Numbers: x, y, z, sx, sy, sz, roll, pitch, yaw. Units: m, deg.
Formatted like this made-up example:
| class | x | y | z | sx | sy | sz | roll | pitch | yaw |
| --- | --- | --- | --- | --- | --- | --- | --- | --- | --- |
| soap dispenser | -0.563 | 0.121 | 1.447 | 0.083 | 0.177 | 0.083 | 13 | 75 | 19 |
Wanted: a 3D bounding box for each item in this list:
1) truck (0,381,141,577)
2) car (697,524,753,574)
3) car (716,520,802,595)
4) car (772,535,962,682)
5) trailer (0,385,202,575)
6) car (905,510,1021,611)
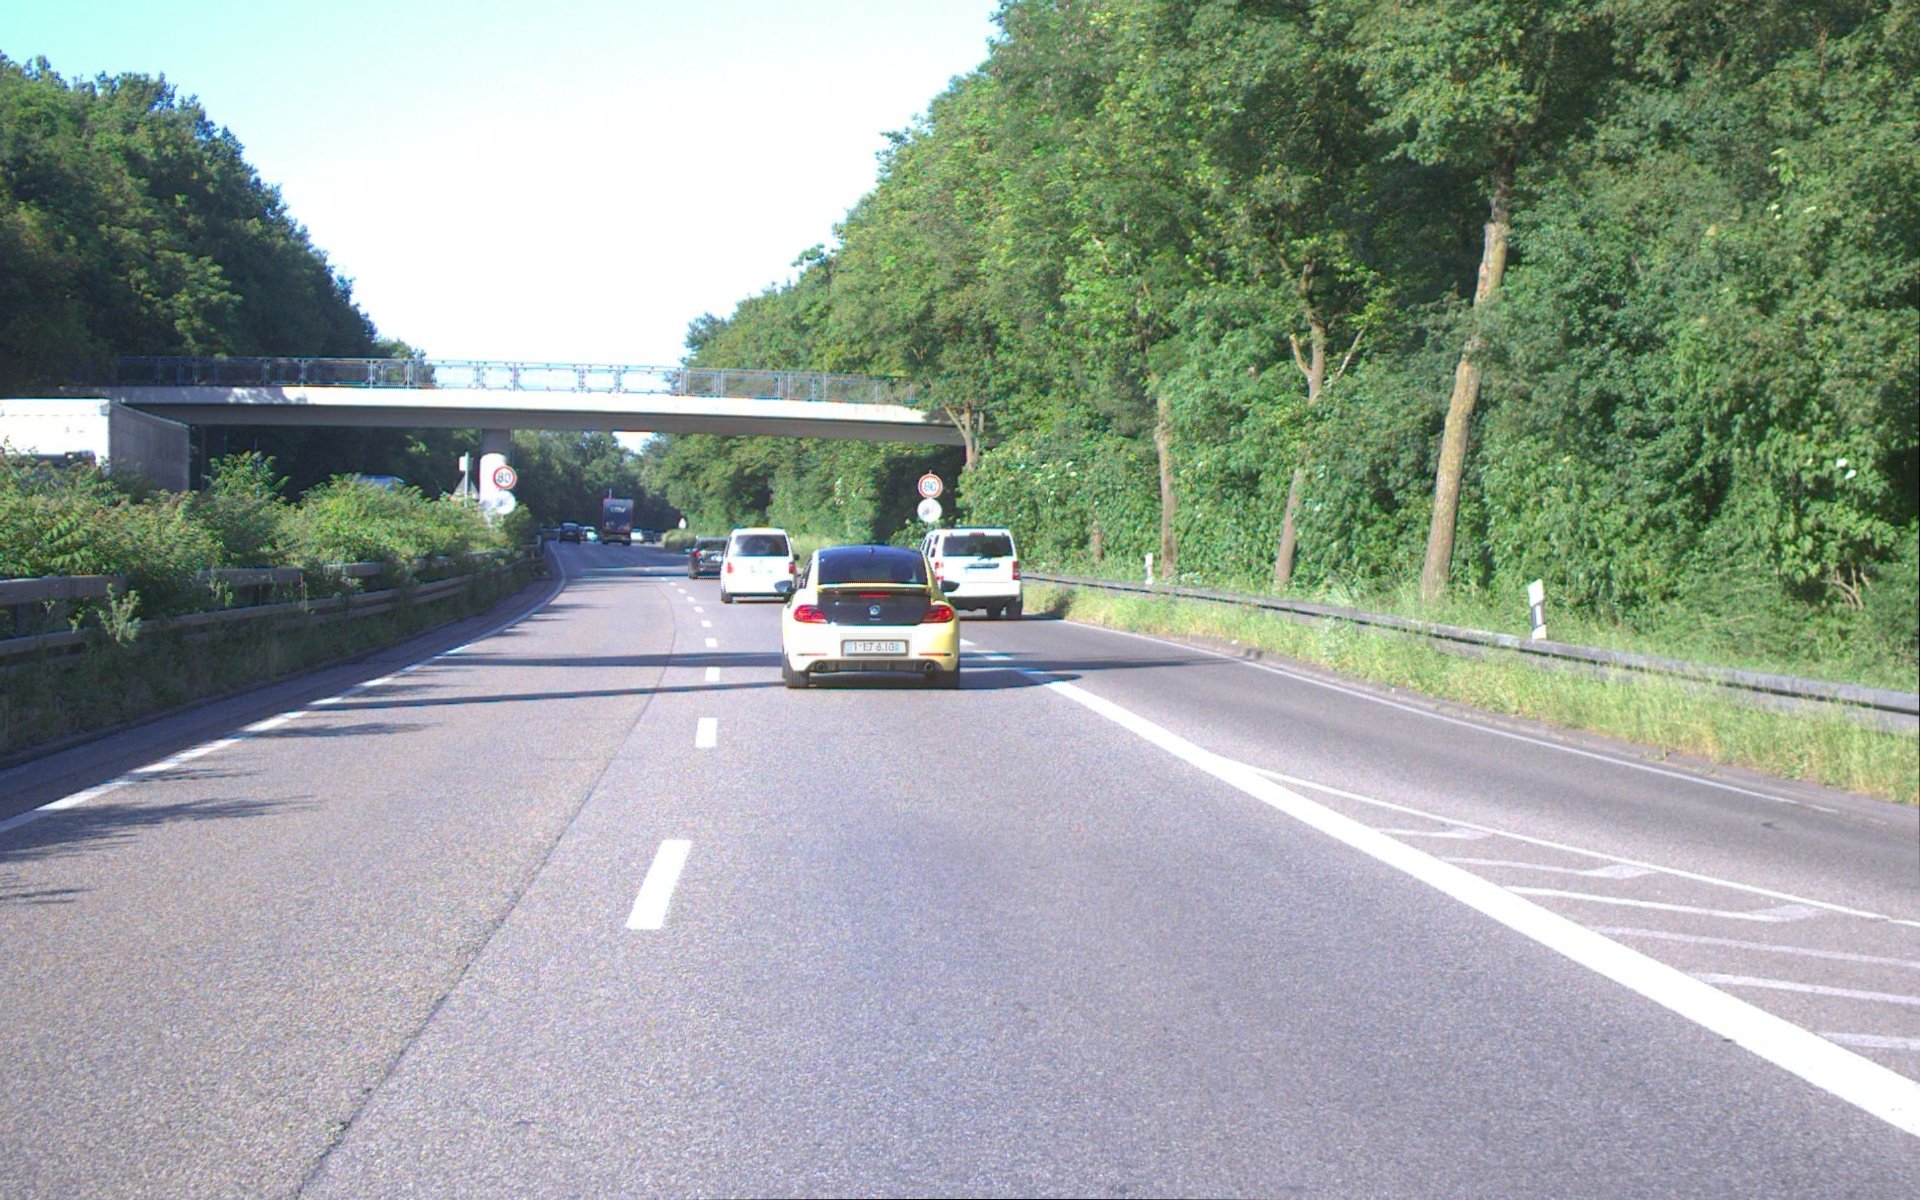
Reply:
| class | x | y | z | sx | sy | sz | roll | pitch | yaw |
| --- | --- | --- | --- | --- | --- | --- | --- | --- | --- |
| truck | -19.652 | -2.587 | 74.505 | 2.738 | 4.013 | 6.181 | 2 | 1 | -5 |
| car | -8.338 | -1.819 | 121.996 | 1.897 | 1.761 | 4.001 | 0 | 1 | -5 |
| car | -4.866 | -1.044 | 82.829 | 1.897 | 1.761 | 4.001 | 0 | 1 | -6 |
| car | -1.010 | 0.049 | 36.415 | 1.897 | 1.466 | 4.001 | 0 | 1 | -2 |
| trailer | -20.217 | -2.731 | 80.941 | 2.738 | 4.013 | 14.078 | 2 | 1 | -5 |
| car | 0.024 | -0.776 | 66.421 | 1.897 | 1.817 | 4.001 | 2 | 1 | -4 |
